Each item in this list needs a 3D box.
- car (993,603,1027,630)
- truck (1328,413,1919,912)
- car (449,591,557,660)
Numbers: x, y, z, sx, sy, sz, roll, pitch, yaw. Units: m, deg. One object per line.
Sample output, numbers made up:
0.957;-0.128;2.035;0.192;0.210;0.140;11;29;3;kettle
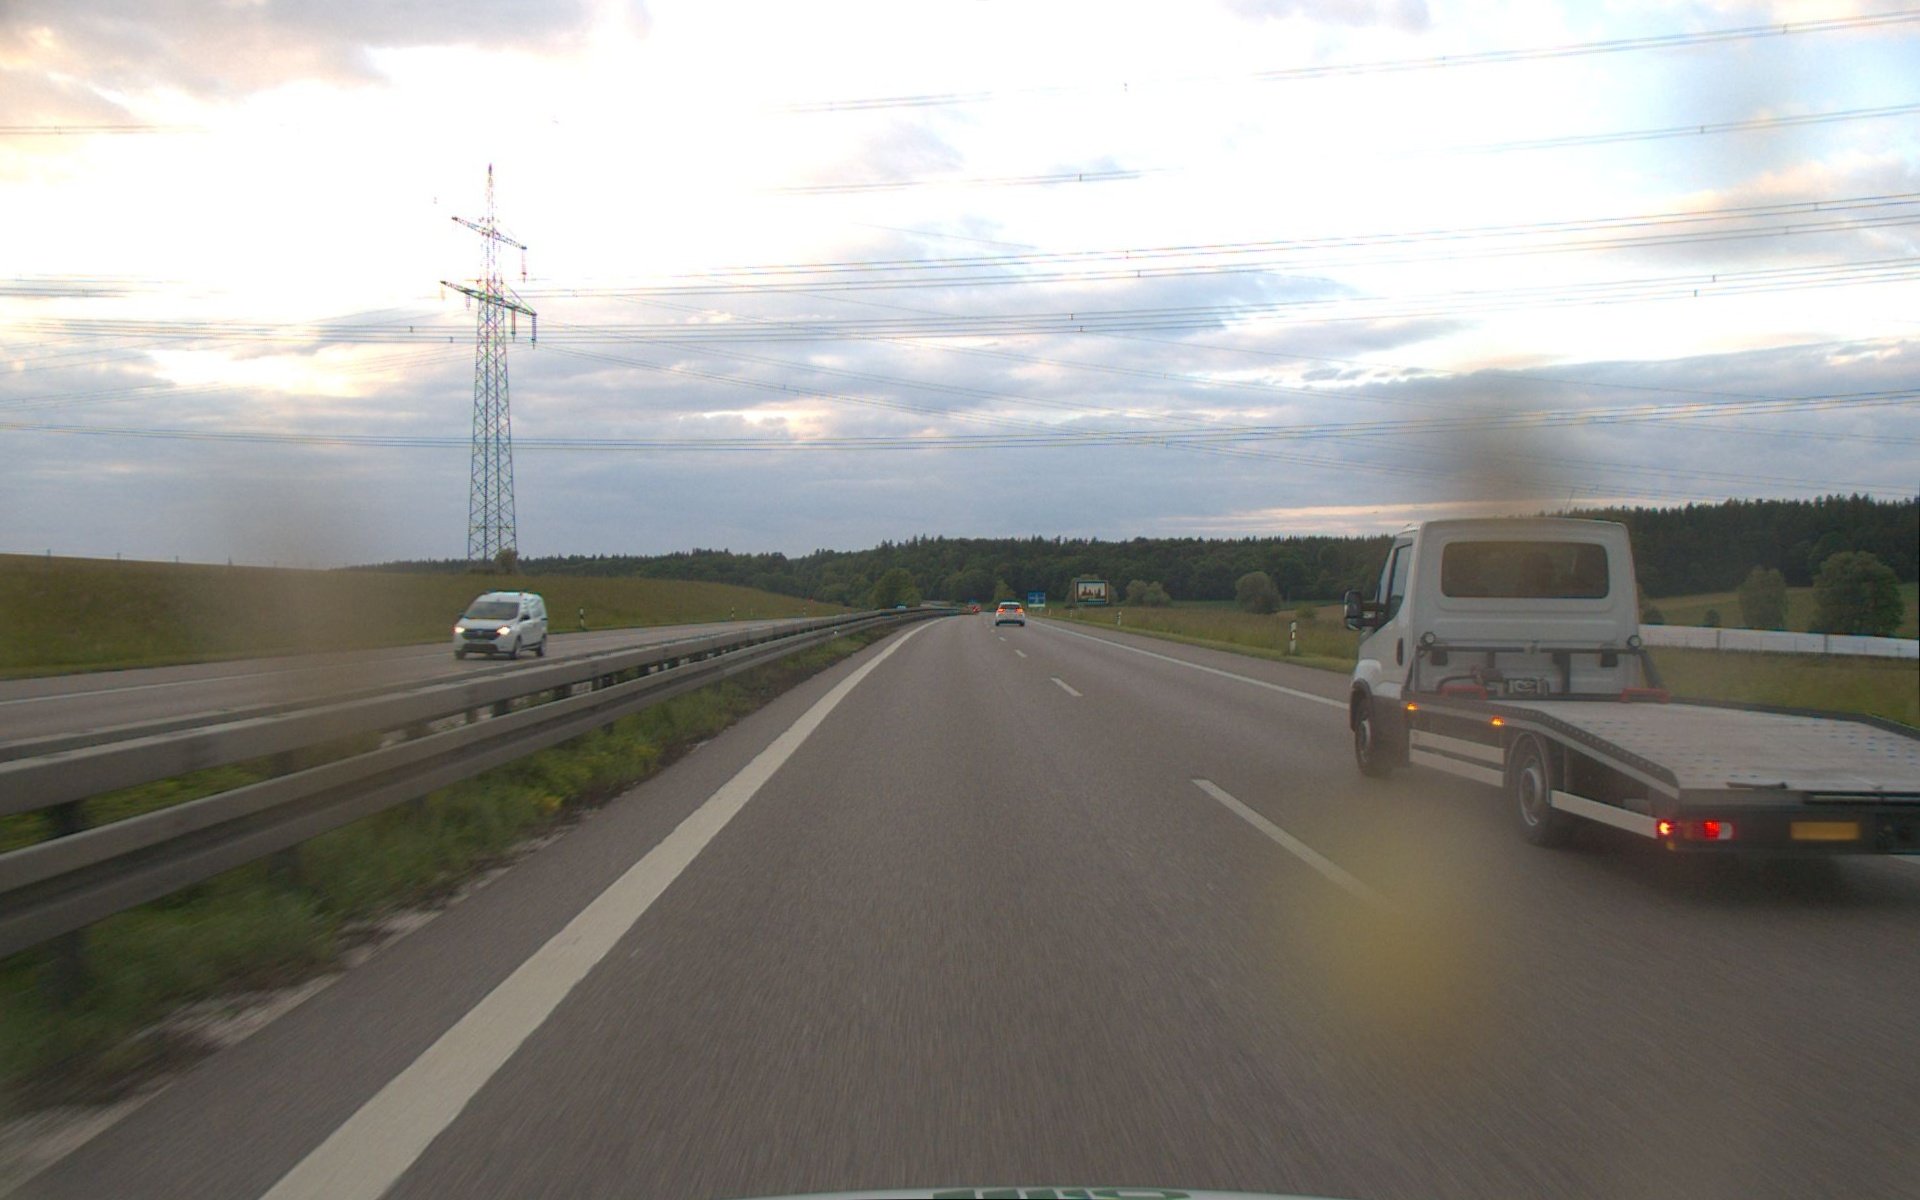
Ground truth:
3.109;0.997;102.886;1.912;1.558;4.079;2;0;-1;car
4.594;0.316;11.913;2.127;2.401;7.696;2;0;0;truck
-12.798;0.679;46.625;1.725;1.833;4.993;-1;0;-1;car
